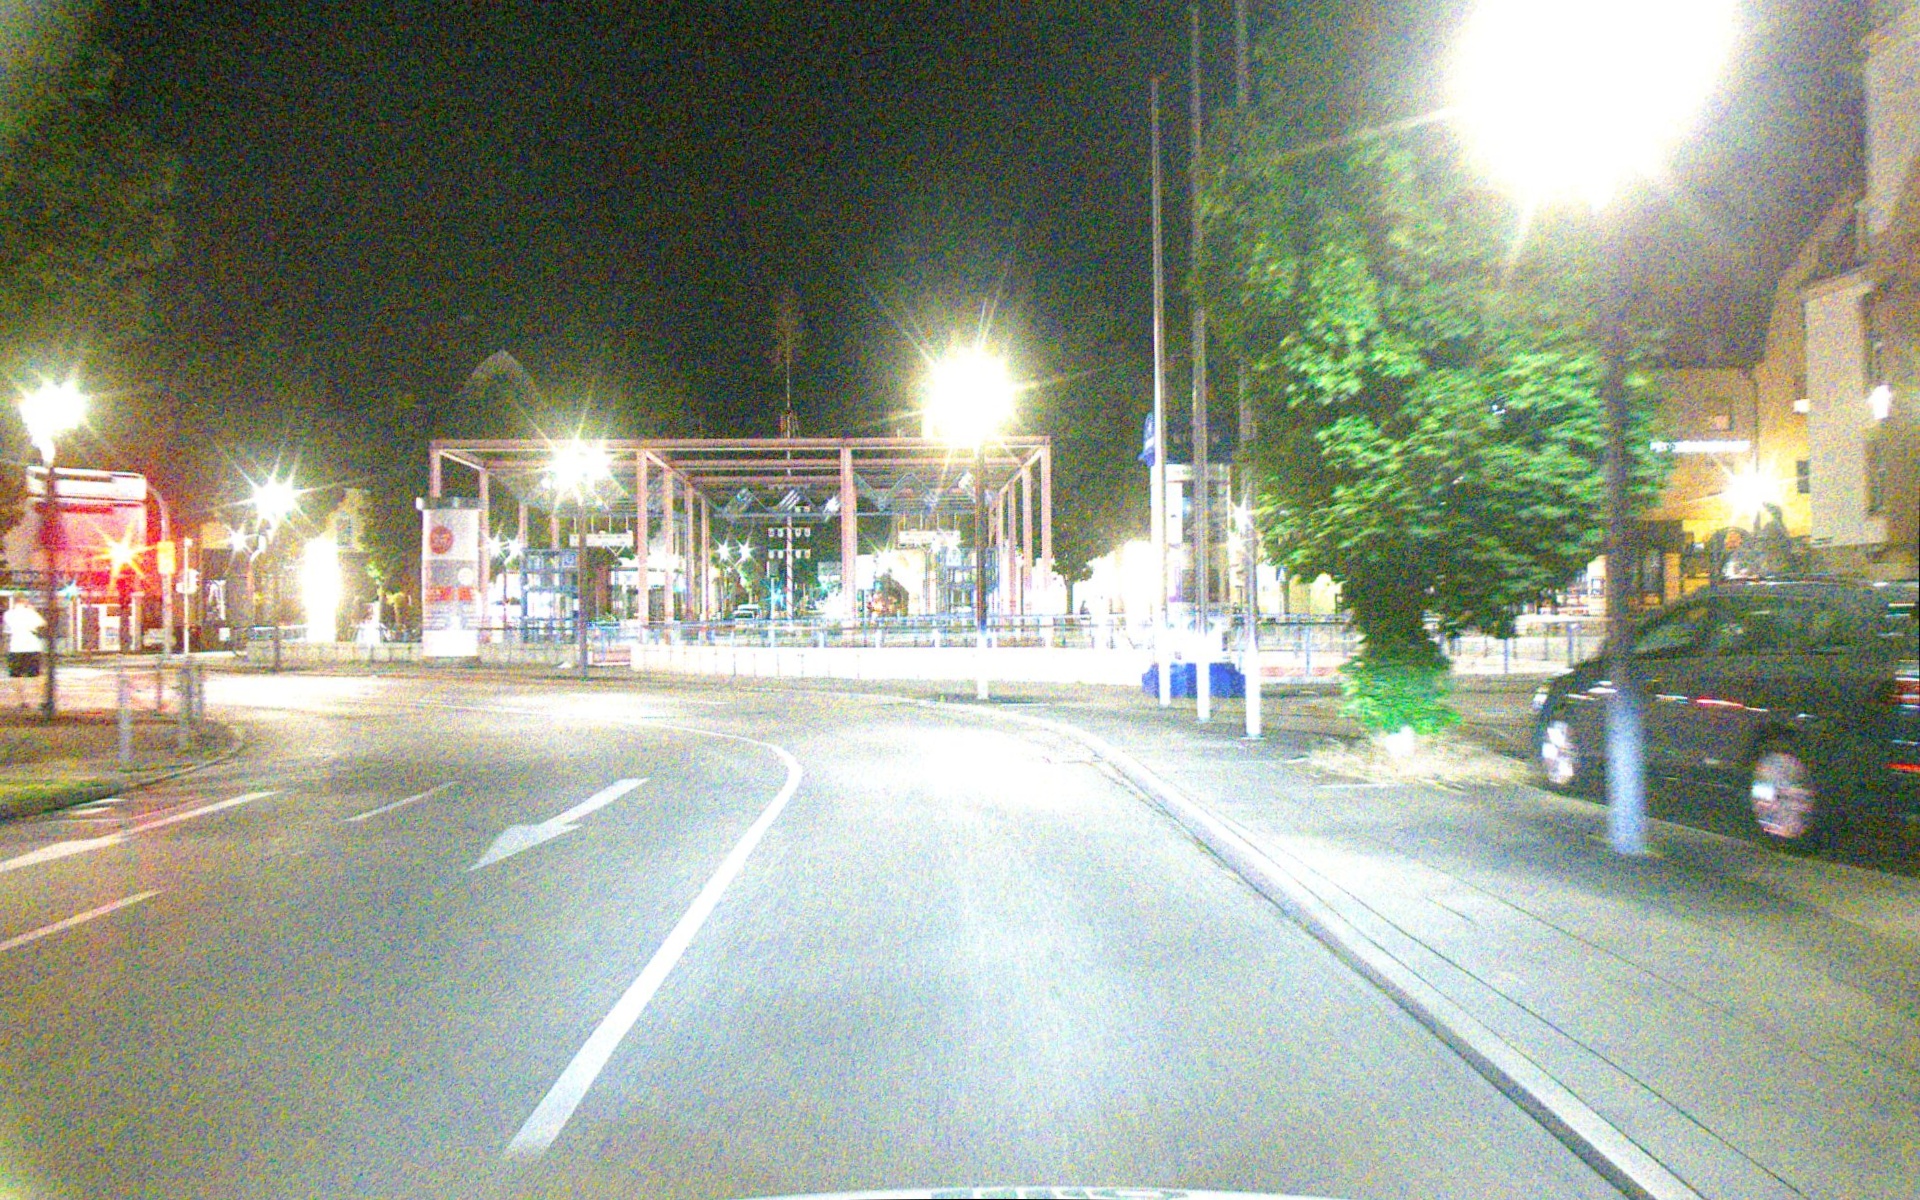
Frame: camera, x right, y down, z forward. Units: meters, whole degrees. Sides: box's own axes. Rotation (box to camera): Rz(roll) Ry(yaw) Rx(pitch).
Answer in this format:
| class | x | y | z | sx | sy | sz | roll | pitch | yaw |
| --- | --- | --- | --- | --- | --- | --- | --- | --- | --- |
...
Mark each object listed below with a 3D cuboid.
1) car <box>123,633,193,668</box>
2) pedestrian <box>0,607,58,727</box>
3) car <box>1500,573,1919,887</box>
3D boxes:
| class | x | y | z | sx | sy | sz | roll | pitch | yaw |
| --- | --- | --- | --- | --- | --- | --- | --- | --- | --- |
| car | -38.660 | 2.430 | 79.692 | 1.985 | 1.601 | 3.594 | 0 | -1 | -45 |
| pedestrian | -14.758 | 1.049 | 26.090 | 0.680 | 1.854 | 0.721 | -2 | -3 | 42 |
| car | 5.164 | 0.638 | 10.278 | 1.700 | 1.485 | 4.722 | 0 | -1 | -5 |
